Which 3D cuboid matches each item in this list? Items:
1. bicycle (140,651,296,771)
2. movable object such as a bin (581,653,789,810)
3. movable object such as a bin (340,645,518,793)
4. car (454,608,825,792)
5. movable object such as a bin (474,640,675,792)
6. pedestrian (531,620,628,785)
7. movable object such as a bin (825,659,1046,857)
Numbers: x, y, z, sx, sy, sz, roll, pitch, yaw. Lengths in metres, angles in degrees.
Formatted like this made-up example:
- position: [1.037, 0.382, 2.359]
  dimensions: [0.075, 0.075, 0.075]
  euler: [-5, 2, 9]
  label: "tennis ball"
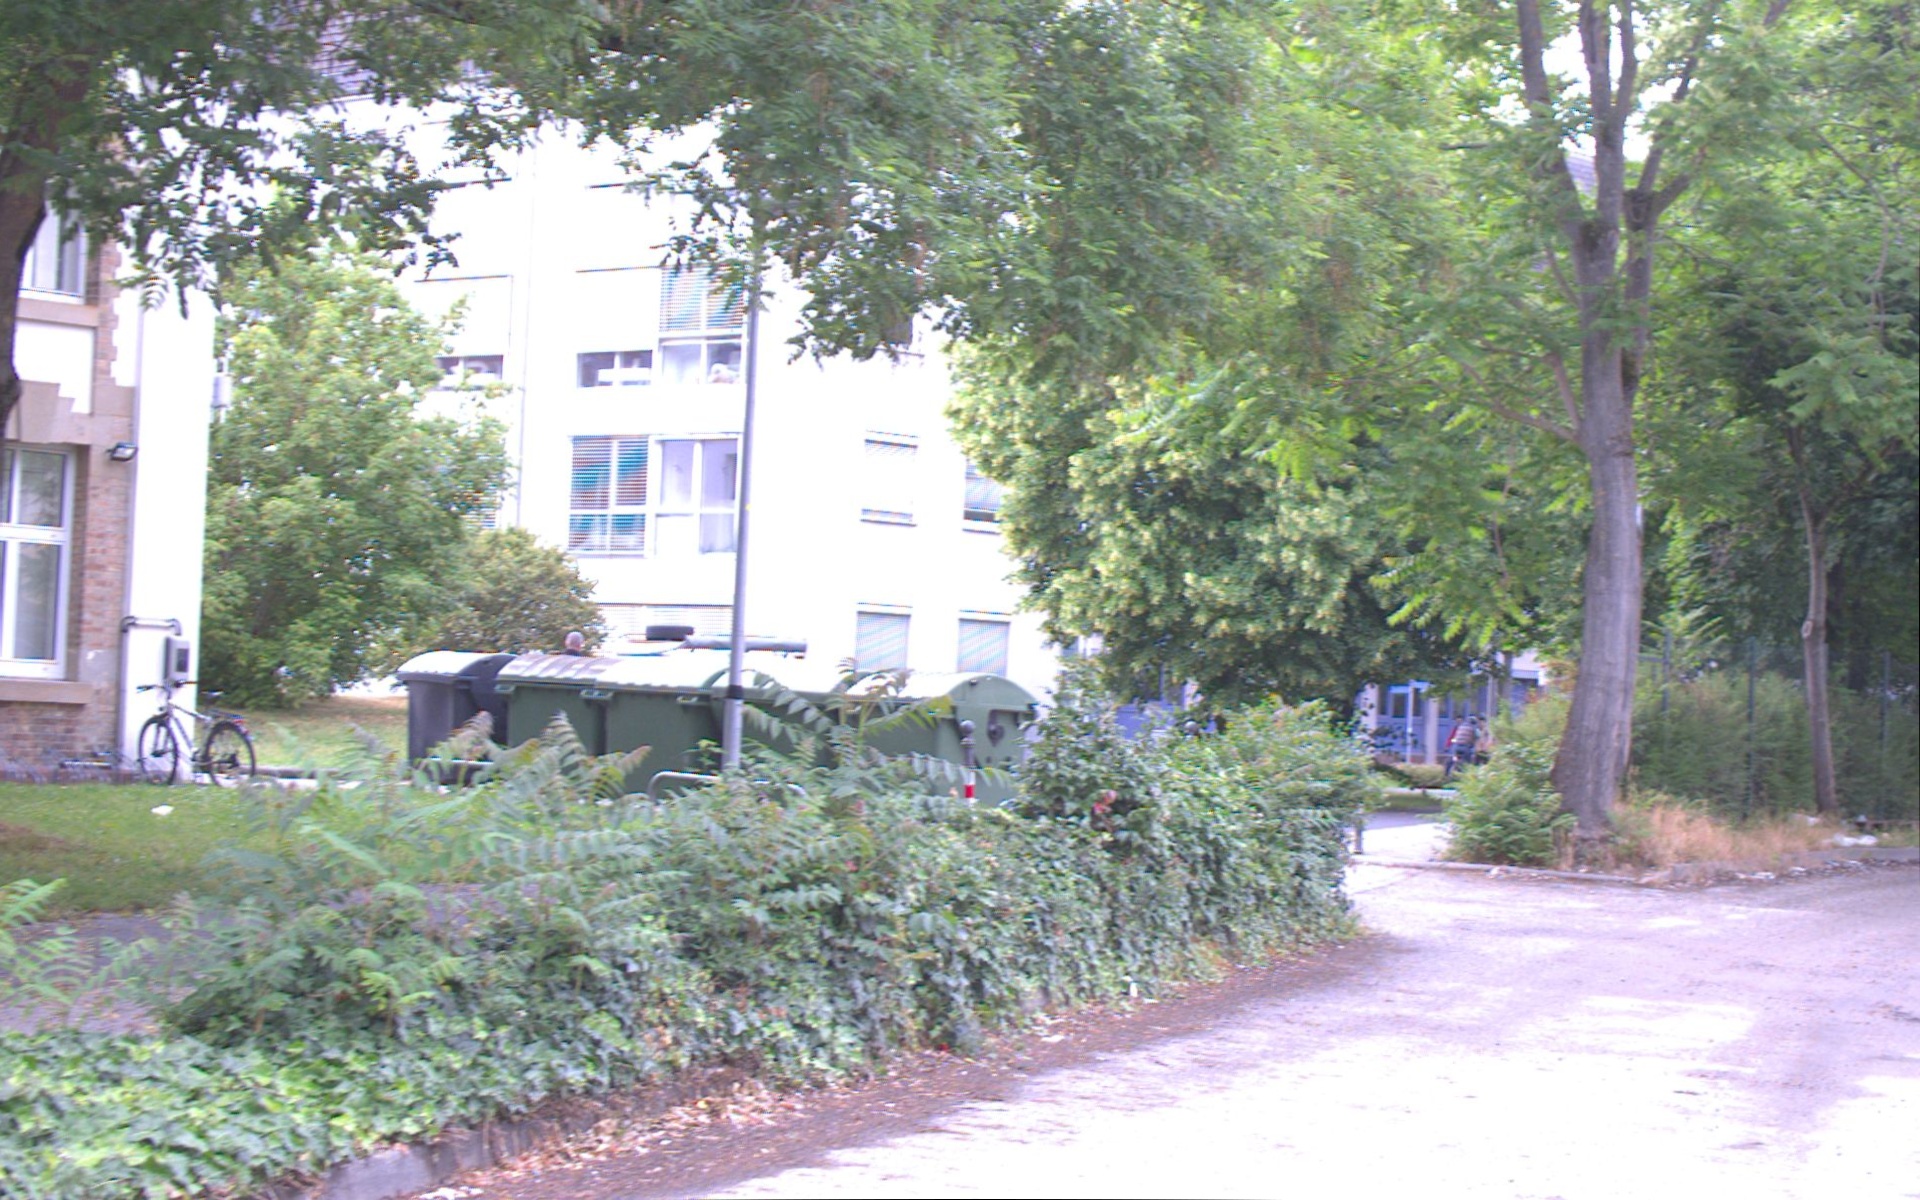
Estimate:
- position: [-7.094, 1.052, 32.829]
  dimensions: [1.827, 1.062, 0.395]
  euler: [2, -2, 42]
  label: "bicycle"
- position: [-2.344, 1.118, 29.284]
  dimensions: [1.352, 1.260, 1.053]
  euler: [2, -2, 38]
  label: "movable object such as a bin"
- position: [-4.808, 1.069, 31.074]
  dimensions: [1.052, 1.260, 1.354]
  euler: [3, -1, -34]
  label: "movable object such as a bin"
- position: [-3.788, 1.229, 41.287]
  dimensions: [1.852, 2.007, 4.341]
  euler: [0, -3, 39]
  label: "car"
- position: [-3.406, 1.021, 30.374]
  dimensions: [1.352, 1.260, 1.053]
  euler: [2, -1, 35]
  label: "movable object such as a bin"
- position: [-4.224, 1.143, 38.197]
  dimensions: [0.697, 1.803, 0.754]
  euler: [-1, -3, 39]
  label: "pedestrian"
- position: [-0.203, 1.248, 27.279]
  dimensions: [1.052, 1.445, 1.354]
  euler: [4, -1, -38]
  label: "movable object such as a bin"
